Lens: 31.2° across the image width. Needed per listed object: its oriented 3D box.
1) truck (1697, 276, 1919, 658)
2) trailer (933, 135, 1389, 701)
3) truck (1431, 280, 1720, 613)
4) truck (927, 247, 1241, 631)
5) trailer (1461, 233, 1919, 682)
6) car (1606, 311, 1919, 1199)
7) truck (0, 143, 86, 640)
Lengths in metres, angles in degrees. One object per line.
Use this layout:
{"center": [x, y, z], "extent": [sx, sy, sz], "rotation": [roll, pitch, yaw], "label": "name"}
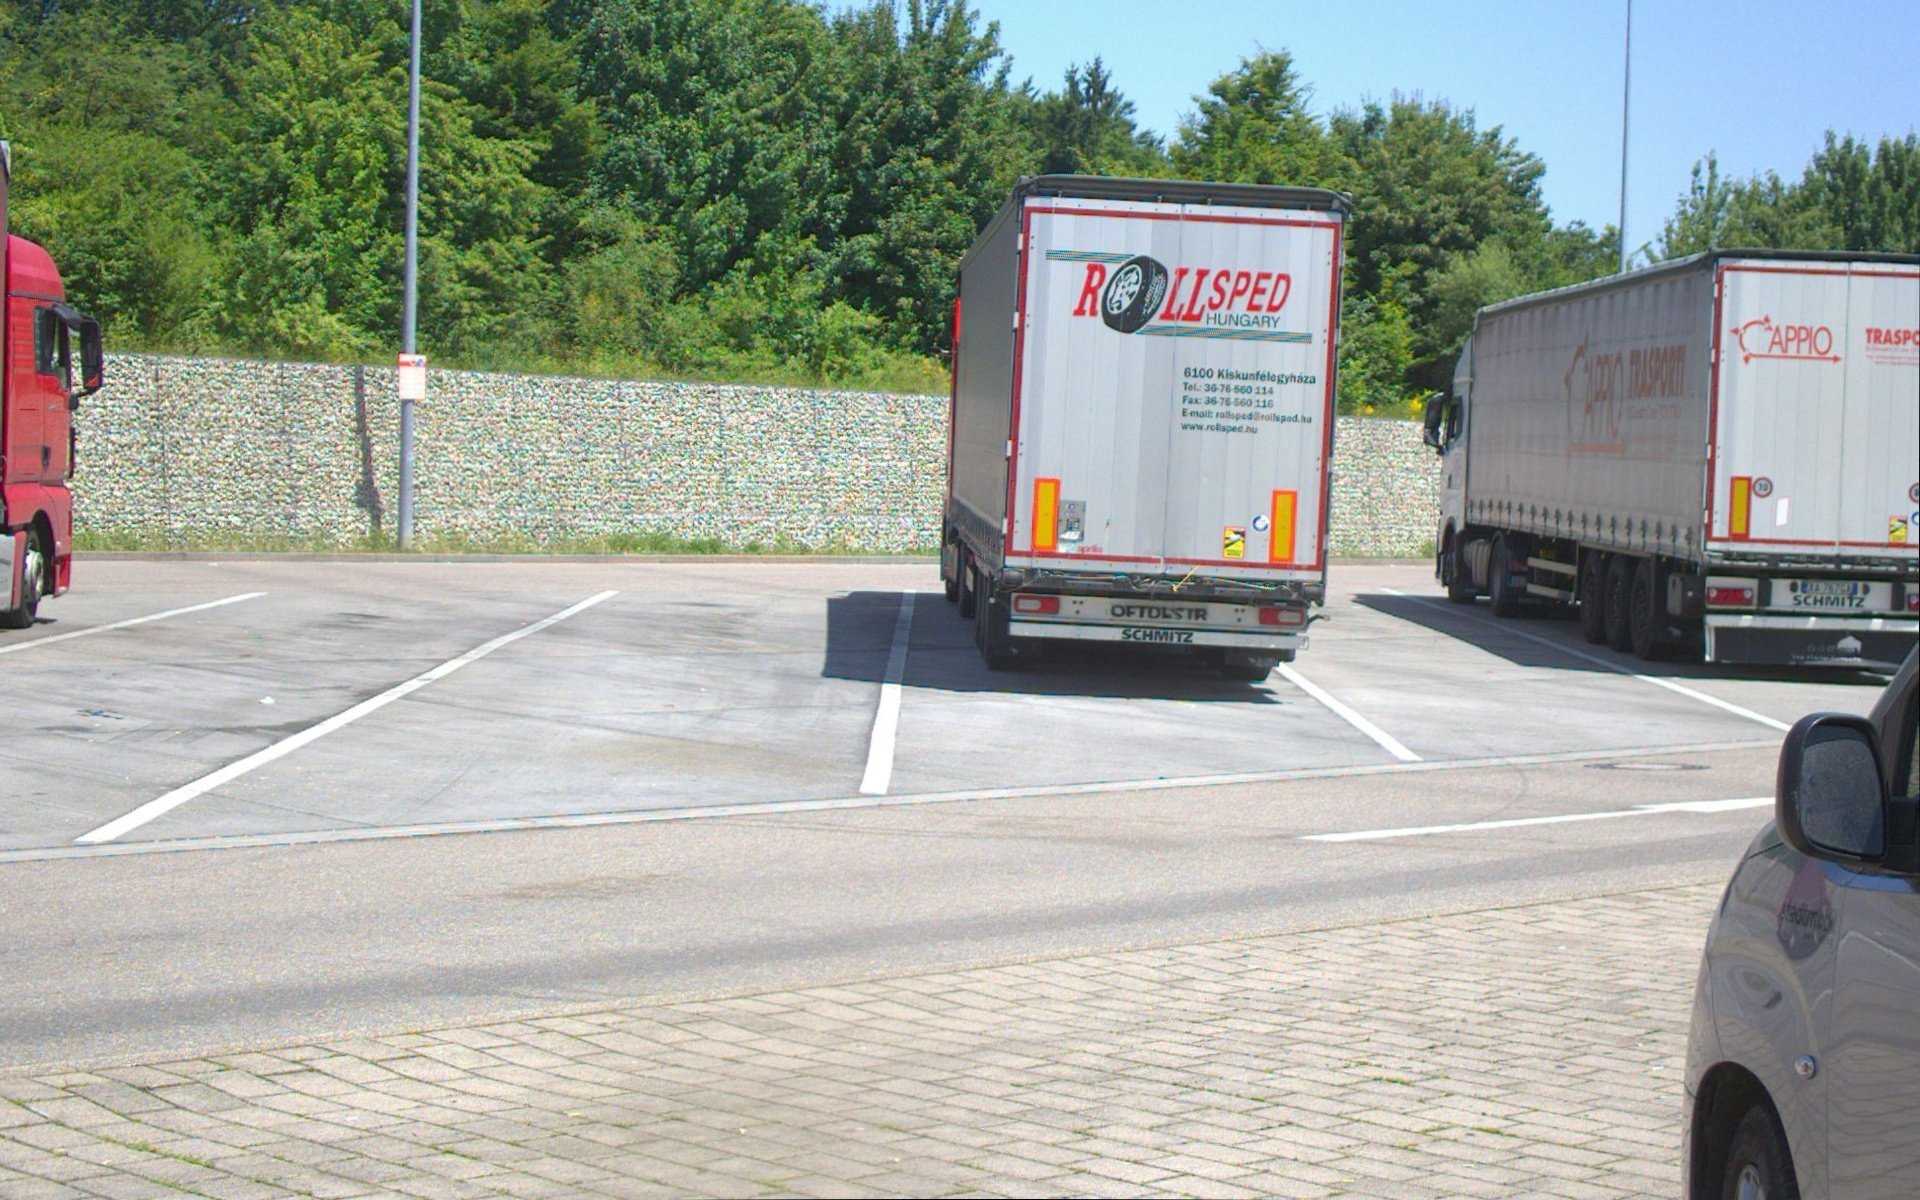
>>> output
{"center": [11.730, -1.477, 39.803], "extent": [2.904, 4.110, 14.528], "rotation": [3, 2, -1], "label": "truck"}
{"center": [1.478, -1.699, 32.634], "extent": [3.069, 4.213, 12.810], "rotation": [2, 3, -2], "label": "trailer"}
{"center": [8.027, -1.993, 45.466], "extent": [2.757, 4.110, 5.285], "rotation": [1, 2, -1], "label": "truck"}
{"center": [1.263, -1.859, 39.402], "extent": [3.026, 3.915, 6.847], "rotation": [2, 3, -2], "label": "truck"}
{"center": [8.140, -1.540, 38.471], "extent": [2.876, 4.110, 13.572], "rotation": [1, 2, -1], "label": "trailer"}
{"center": [2.135, 0.542, 3.791], "extent": [1.825, 1.747, 4.001], "rotation": [1, 2, -4], "label": "car"}
{"center": [-9.232, -1.705, 27.652], "extent": [2.743, 4.067, 6.830], "rotation": [1, 2, -1], "label": "truck"}
